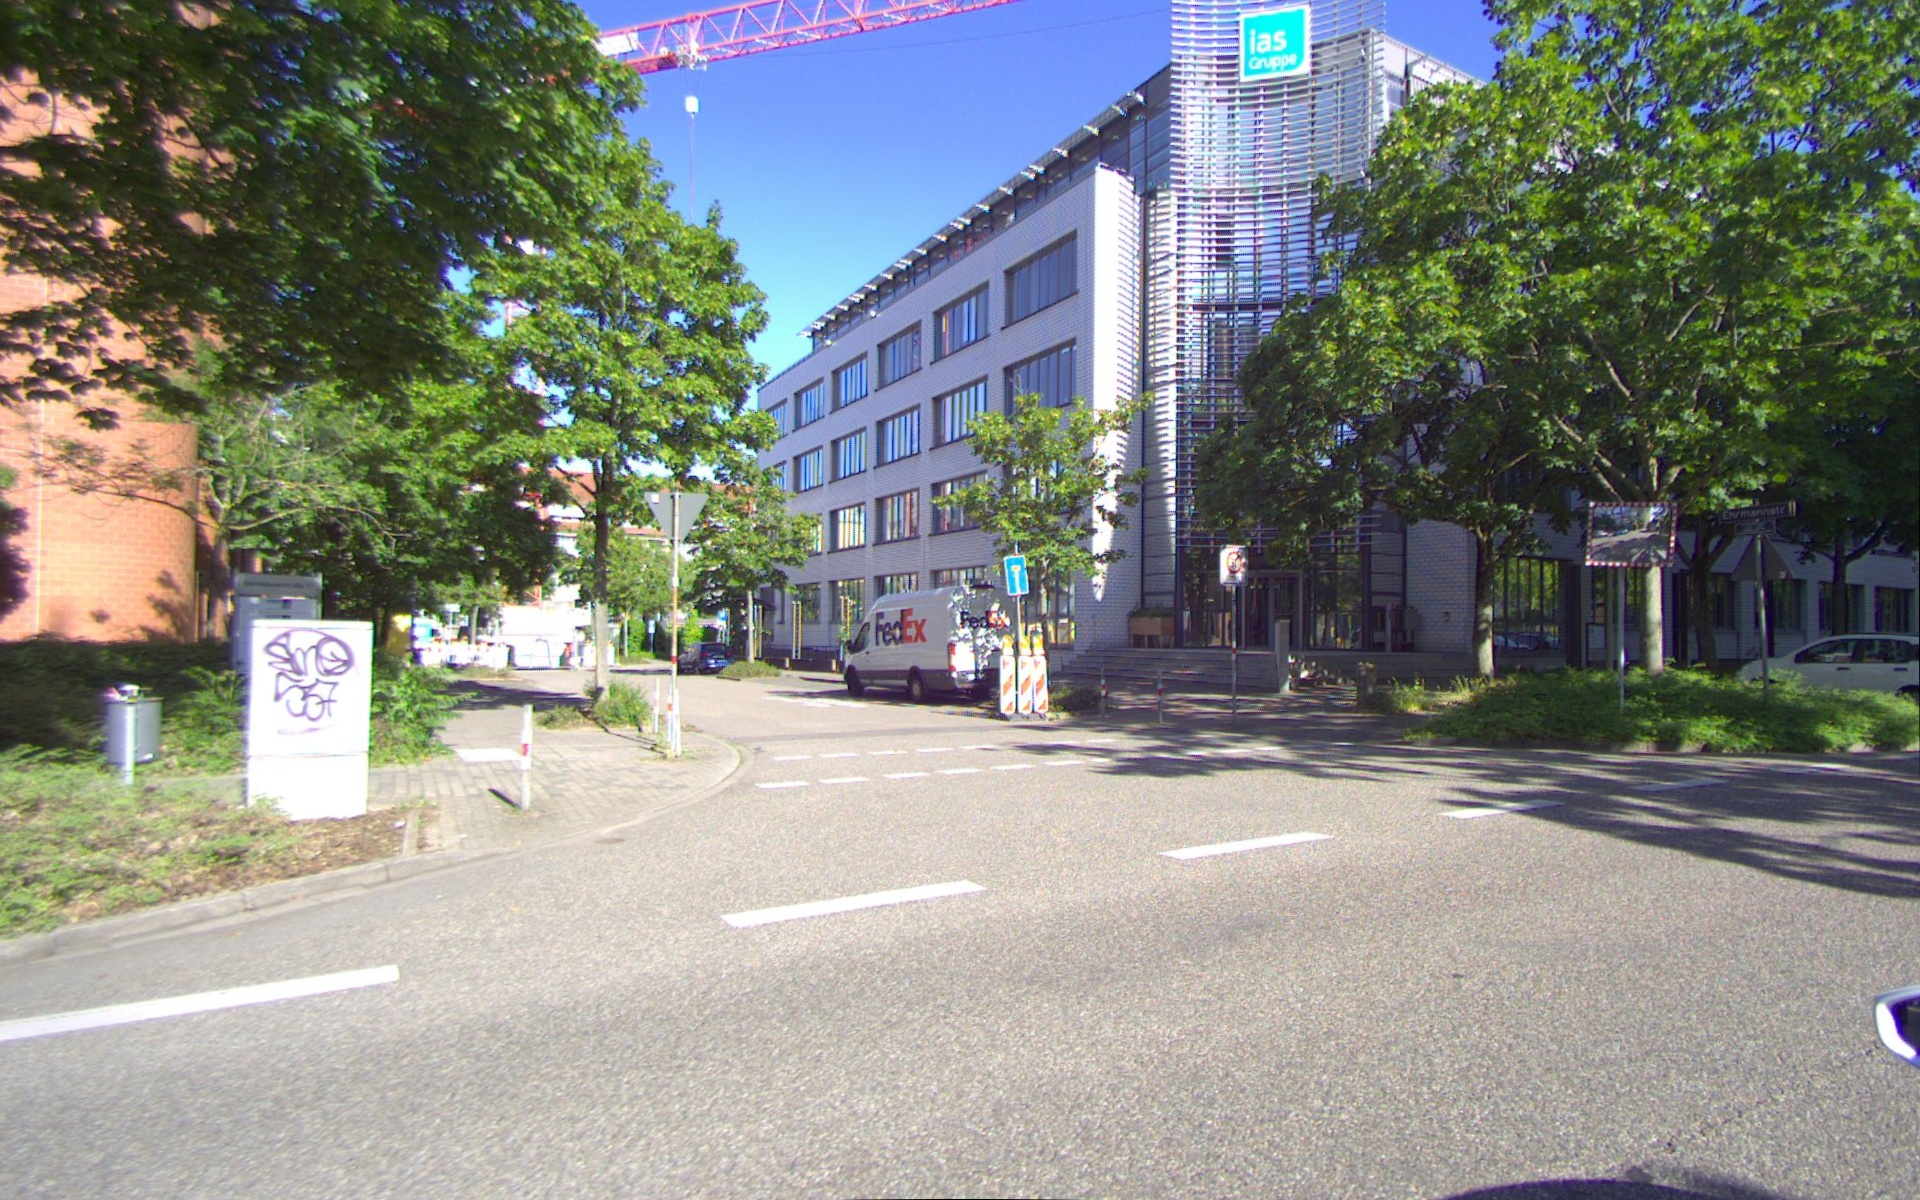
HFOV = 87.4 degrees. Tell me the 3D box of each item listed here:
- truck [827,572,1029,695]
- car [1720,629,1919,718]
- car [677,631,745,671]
[{"bbox_3d":[-1.009,0.861,25.735,2.549,2.740,6.073,1,-2,-31],"label":"truck"},{"bbox_3d":[17.247,1.413,19.563,1.620,1.569,3.561,5,-3,-32],"label":"car"},{"bbox_3d":[-11.165,2.275,44.921,1.985,1.700,3.970,1,-3,-29],"label":"car"}]
